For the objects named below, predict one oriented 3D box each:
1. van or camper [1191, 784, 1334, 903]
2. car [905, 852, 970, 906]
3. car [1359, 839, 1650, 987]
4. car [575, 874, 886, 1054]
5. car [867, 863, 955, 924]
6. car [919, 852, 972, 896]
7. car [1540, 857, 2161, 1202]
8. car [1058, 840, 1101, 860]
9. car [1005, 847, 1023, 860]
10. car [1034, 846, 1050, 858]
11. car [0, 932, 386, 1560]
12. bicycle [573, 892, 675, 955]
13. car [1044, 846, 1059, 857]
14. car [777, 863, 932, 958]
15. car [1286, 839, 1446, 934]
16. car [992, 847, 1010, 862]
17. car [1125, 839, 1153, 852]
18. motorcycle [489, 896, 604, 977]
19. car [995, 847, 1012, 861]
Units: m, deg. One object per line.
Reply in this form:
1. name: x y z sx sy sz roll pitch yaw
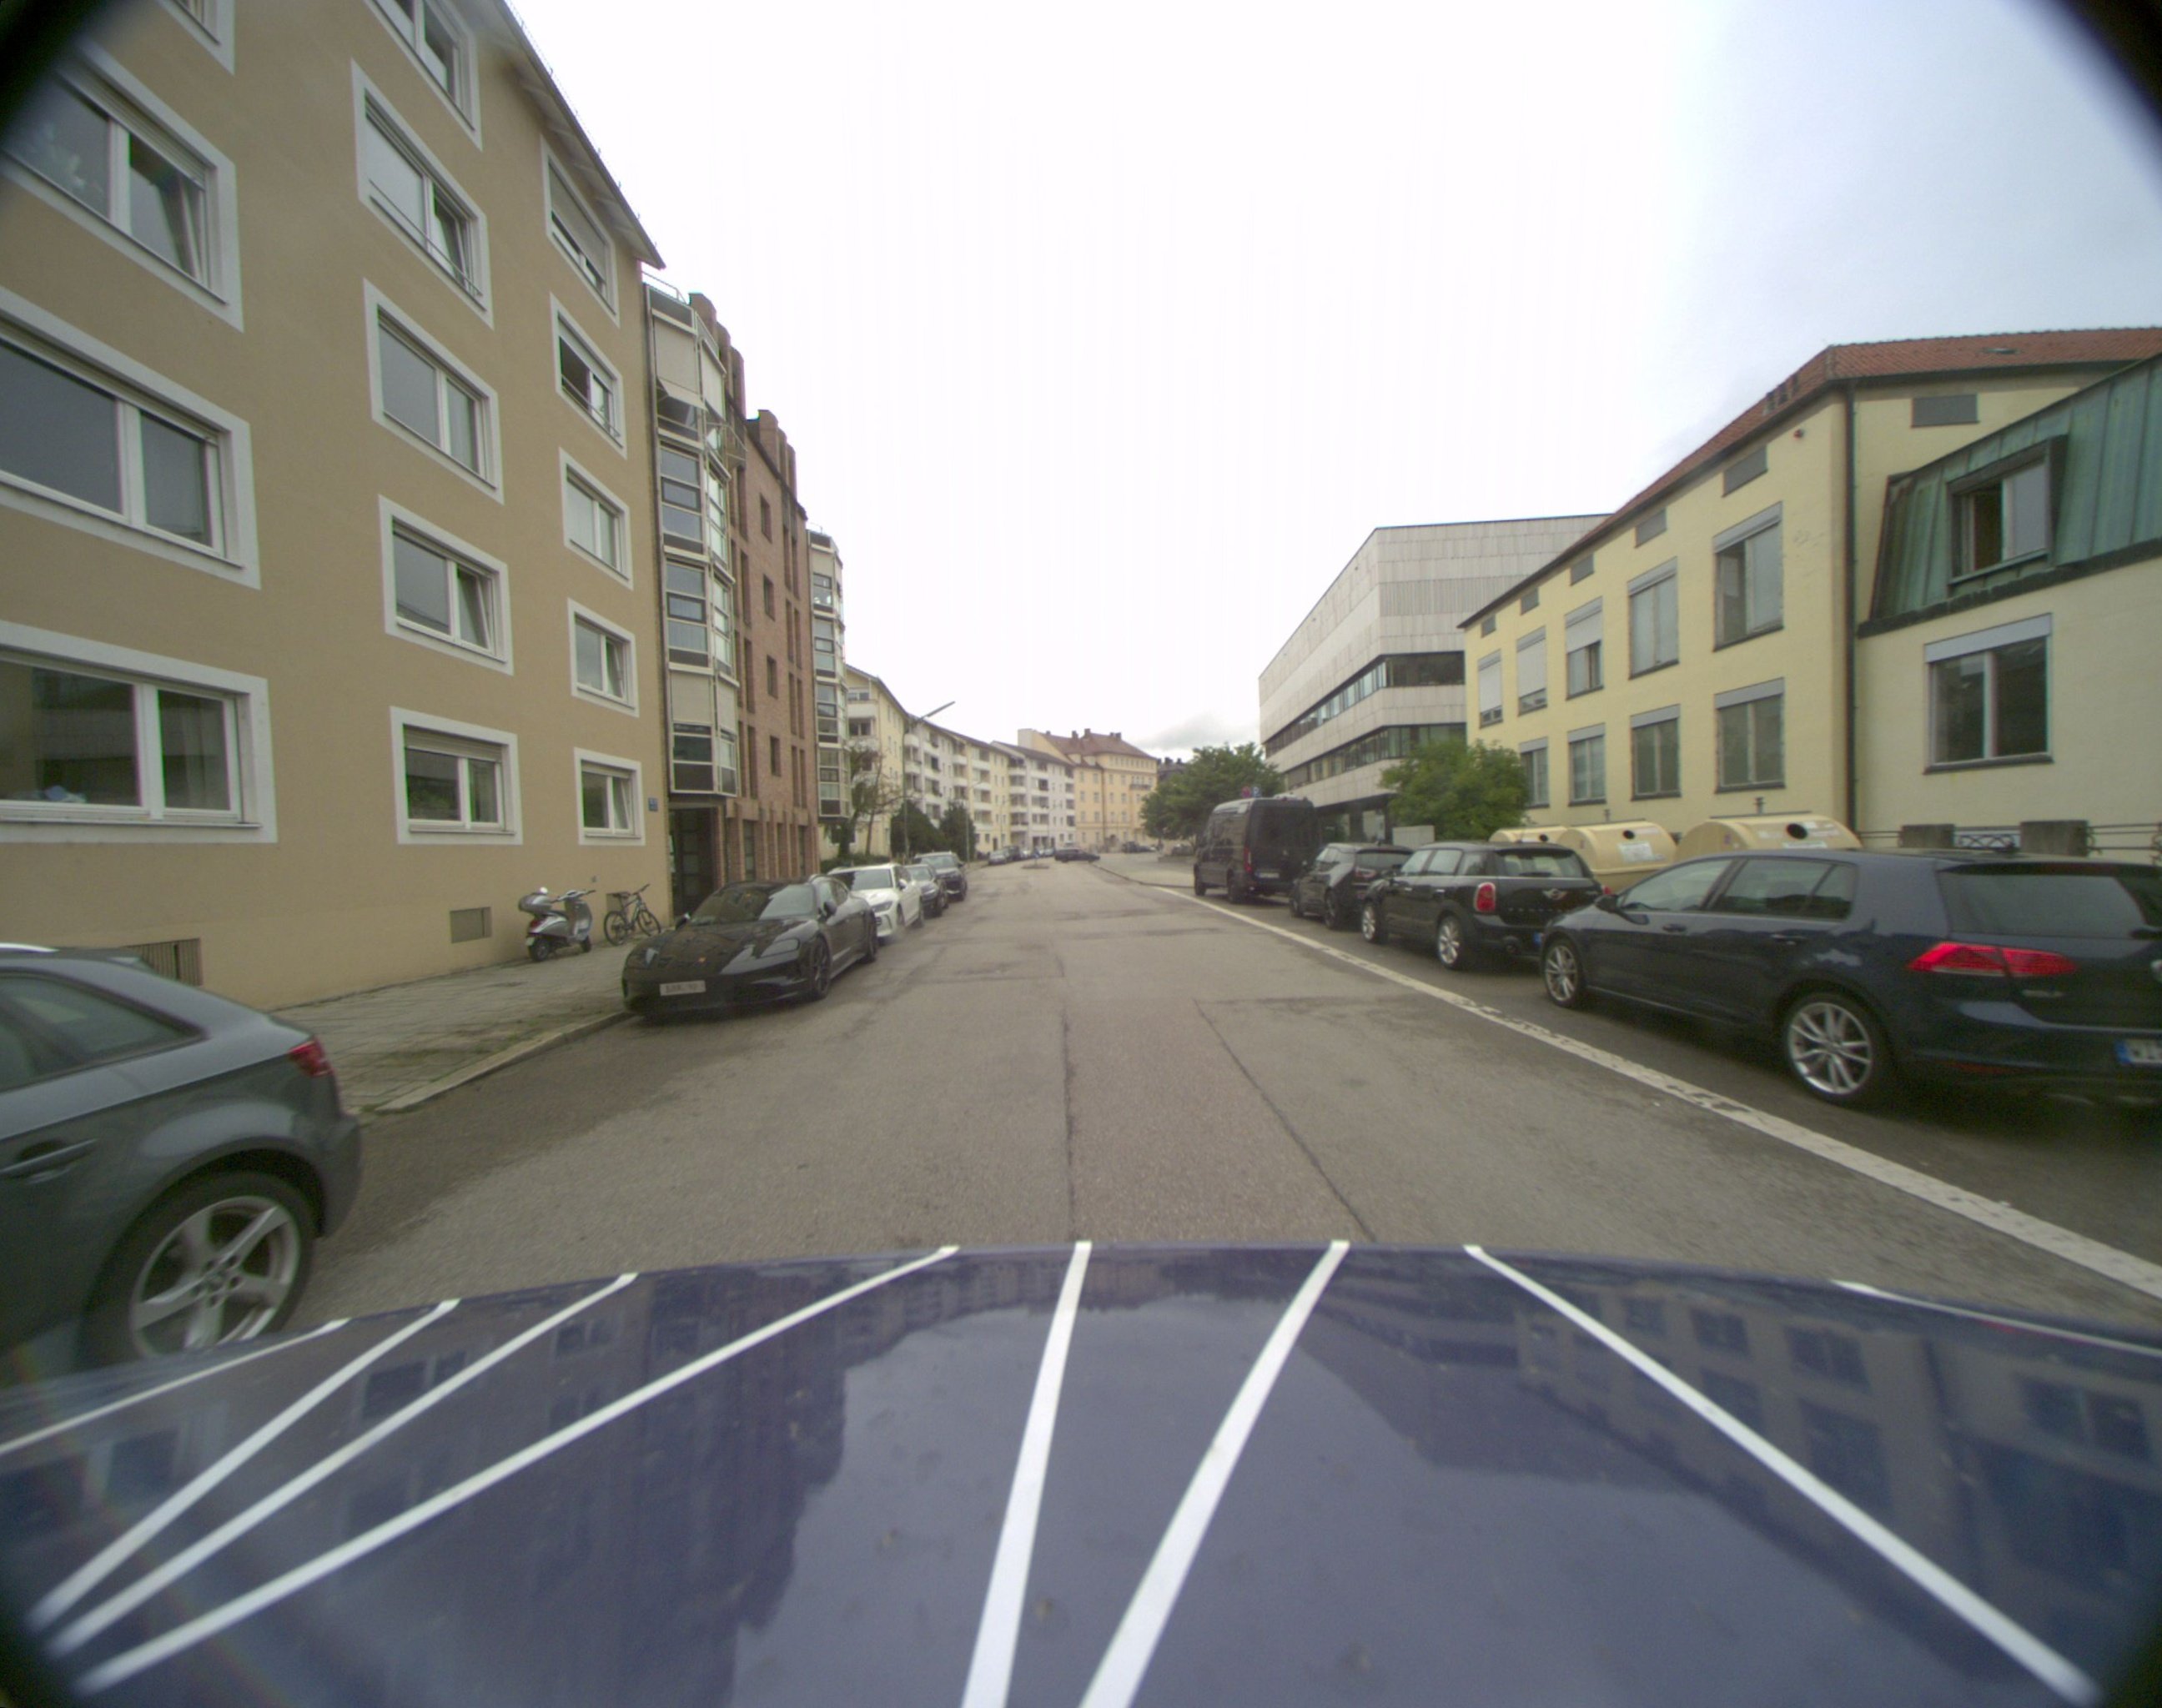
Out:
1. van or camper: 4.769 -0.276 21.010 2.142 2.792 5.569 2 1 -4
2. car: -4.733 0.773 25.515 1.742 1.570 3.831 -2 1 -5
3. car: 5.227 0.600 10.060 1.699 1.553 3.867 1 1 1
4. car: -3.918 1.107 9.519 1.896 1.388 4.488 -5 1 -3
5. car: -4.438 0.979 20.439 1.742 1.332 4.163 -2 1 -5
6. car: -5.341 0.751 30.421 1.742 1.570 4.127 -2 1 -6
7. car: 5.115 0.778 5.227 1.699 1.397 4.001 1 1 5
8. car: -0.180 -0.374 76.443 4.247 1.849 1.999 -2 1 -2
9. car: -7.748 -0.060 87.762 1.756 1.445 3.569 -2 1 -1
10. car: -5.429 -0.298 107.160 1.755 1.445 3.570 -2 1 5
11. car: -3.429 1.061 0.746 1.745 1.388 4.198 -3 1 -4
12. bicycle: -9.182 1.357 15.406 0.712 1.013 2.398 -2 1 -3
13. car: -4.371 -0.370 113.242 1.755 1.445 3.570 -2 1 5
14. car: -4.247 0.971 15.030 1.896 1.454 4.488 -2 1 -3
15. car: 5.282 0.508 14.610 1.642 1.553 3.838 1 1 1
16. car: -8.225 0.033 78.250 1.757 1.445 3.567 -2 1 -7
17. car: 8.545 -1.246 112.559 3.996 1.849 2.000 -2 1 4
18. motorcycle: -8.905 1.341 12.758 0.629 1.119 1.798 -2 1 -1
19. car: -8.493 0.004 82.702 1.757 1.445 3.567 -2 1 -7
